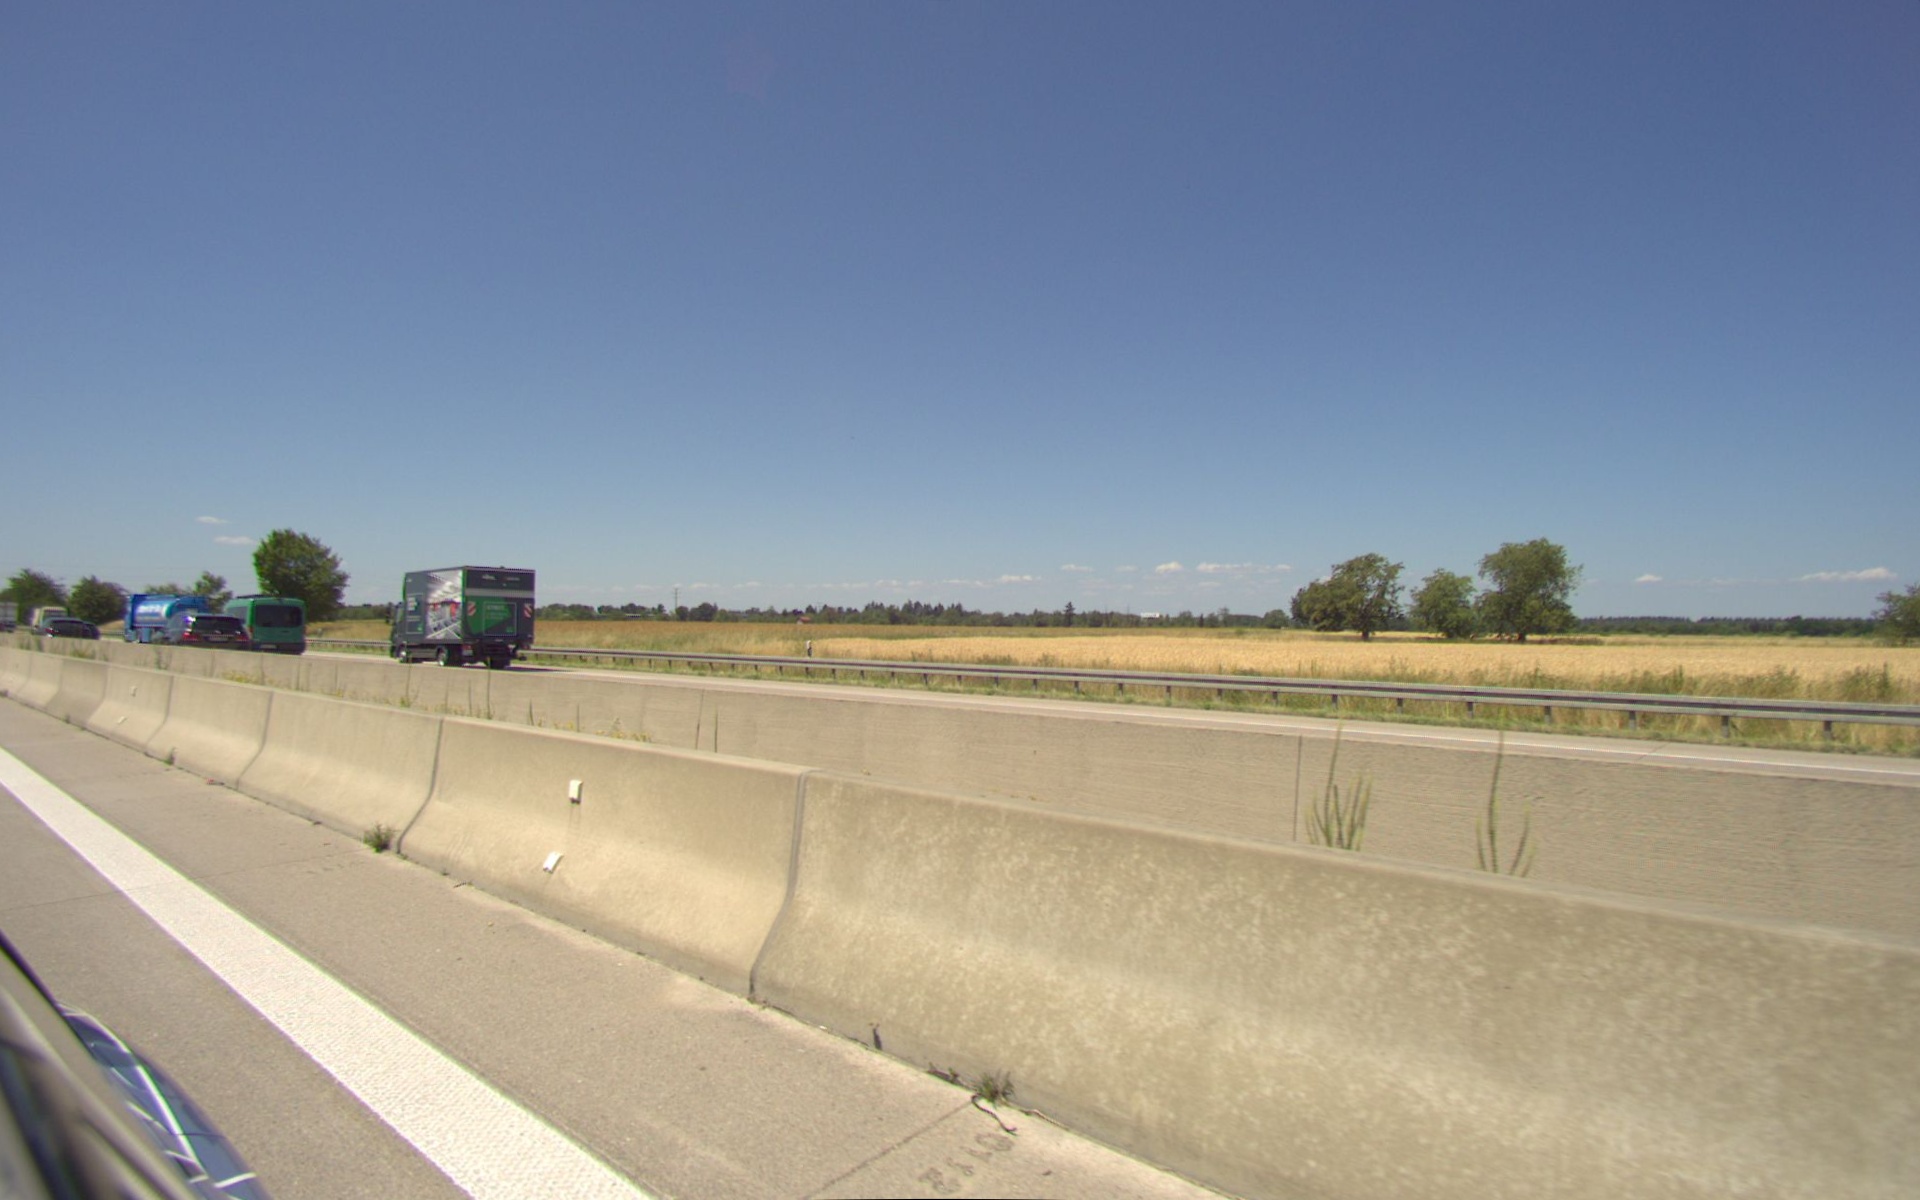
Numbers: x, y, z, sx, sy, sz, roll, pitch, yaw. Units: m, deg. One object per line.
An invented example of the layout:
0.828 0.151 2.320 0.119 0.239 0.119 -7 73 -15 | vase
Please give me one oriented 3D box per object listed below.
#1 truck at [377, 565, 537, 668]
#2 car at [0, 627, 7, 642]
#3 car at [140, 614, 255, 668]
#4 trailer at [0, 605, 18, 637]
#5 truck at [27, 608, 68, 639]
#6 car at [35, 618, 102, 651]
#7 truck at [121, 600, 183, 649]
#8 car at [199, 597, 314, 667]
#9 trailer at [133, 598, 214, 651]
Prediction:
-19.166 0.667 38.293 7.880 3.539 2.528 -1 -3 41 | truck
-98.619 3.481 103.176 4.485 1.471 1.670 -1 -4 41 | car
-24.567 1.284 32.543 4.846 1.588 1.973 -1 -1 41 | car
-124.171 2.714 130.299 12.504 3.938 2.878 -1 -1 41 | trailer
-92.955 2.381 103.052 6.974 3.107 2.298 -1 -1 41 | truck
-45.622 1.728 51.761 4.886 1.569 1.920 -1 -1 41 | car
-57.307 1.733 71.765 5.260 3.334 2.459 -1 -1 40 | truck
-28.266 1.283 40.553 6.460 2.570 2.127 -1 -4 41 | car
-52.908 1.625 67.996 9.247 3.297 2.489 -1 -1 41 | trailer
